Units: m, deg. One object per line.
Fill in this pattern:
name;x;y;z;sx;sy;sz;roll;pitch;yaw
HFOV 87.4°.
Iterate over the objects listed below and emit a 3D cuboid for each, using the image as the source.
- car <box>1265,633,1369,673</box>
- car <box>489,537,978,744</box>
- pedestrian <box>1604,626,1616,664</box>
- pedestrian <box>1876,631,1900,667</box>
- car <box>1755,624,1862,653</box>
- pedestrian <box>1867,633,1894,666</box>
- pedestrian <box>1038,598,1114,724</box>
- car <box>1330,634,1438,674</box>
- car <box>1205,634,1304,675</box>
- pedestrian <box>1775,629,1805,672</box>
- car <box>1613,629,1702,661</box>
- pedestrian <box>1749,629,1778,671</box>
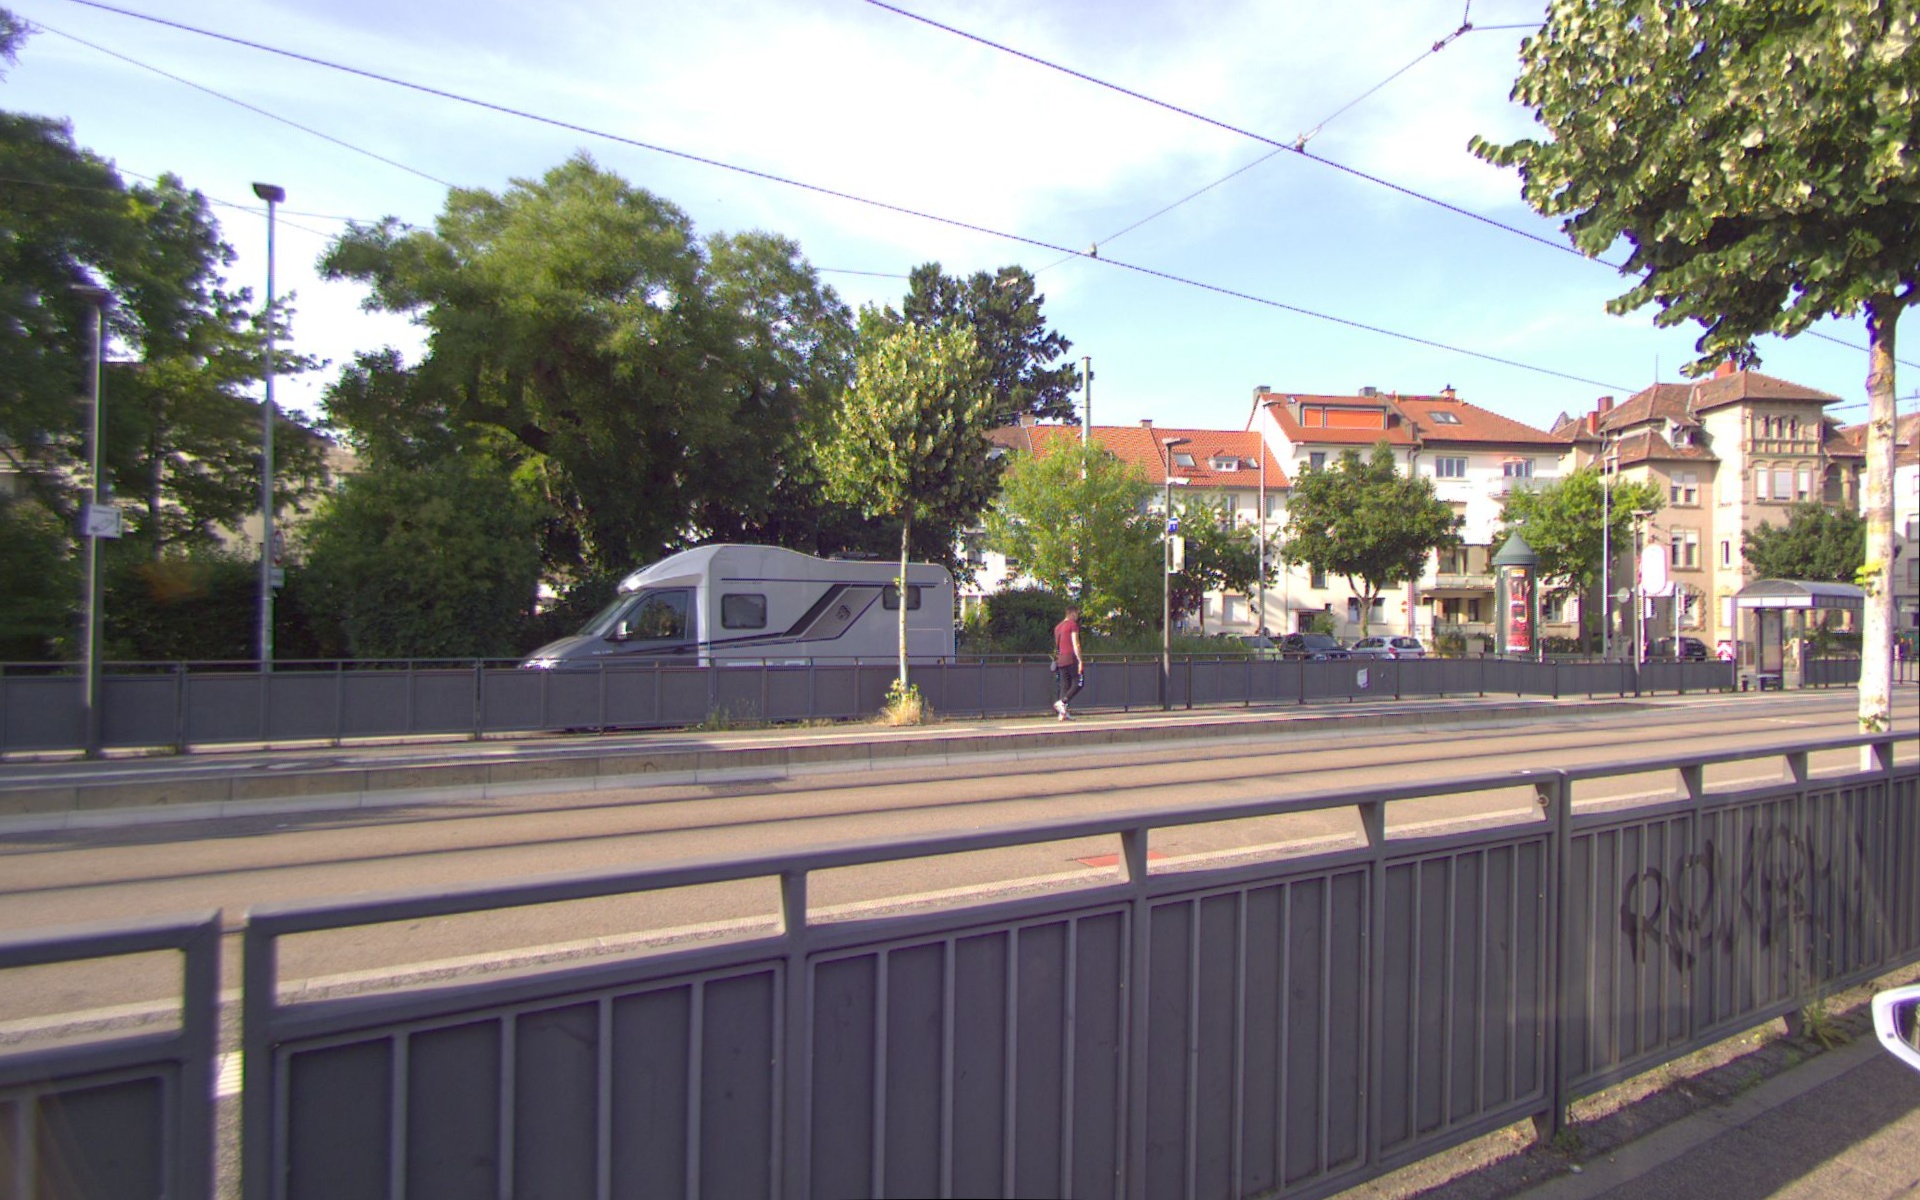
car;13.908;2.035;39.332;1.966;1.416;3.988;1;-1;-14
car;-3.523;0.606;16.424;7.379;2.771;2.584;1;-1;-30
pedestrian;35.522;2.459;54.876;0.400;2.040;0.383;1;0;-11
pedestrian;46.618;2.462;50.456;0.736;1.776;0.663;1;-1;-26
car;49.864;2.261;59.078;4.628;1.649;2.209;1;-1;-6
pedestrian;51.374;2.760;56.067;0.736;1.776;0.884;1;-1;-26
pedestrian;1.681;0.859;14.566;0.763;1.756;0.832;1;-1;-29
car;16.763;2.125;39.917;1.966;1.416;3.988;1;-1;-15
car;11.334;2.073;38.923;1.966;1.416;3.990;1;-1;-13
pedestrian;35.463;2.148;42.917;0.740;1.776;0.879;1;-1;-40
car;40.477;2.591;58.409;1.965;1.773;3.992;1;-1;-11
pedestrian;34.877;2.151;43.606;0.739;1.776;0.879;1;-1;-39
